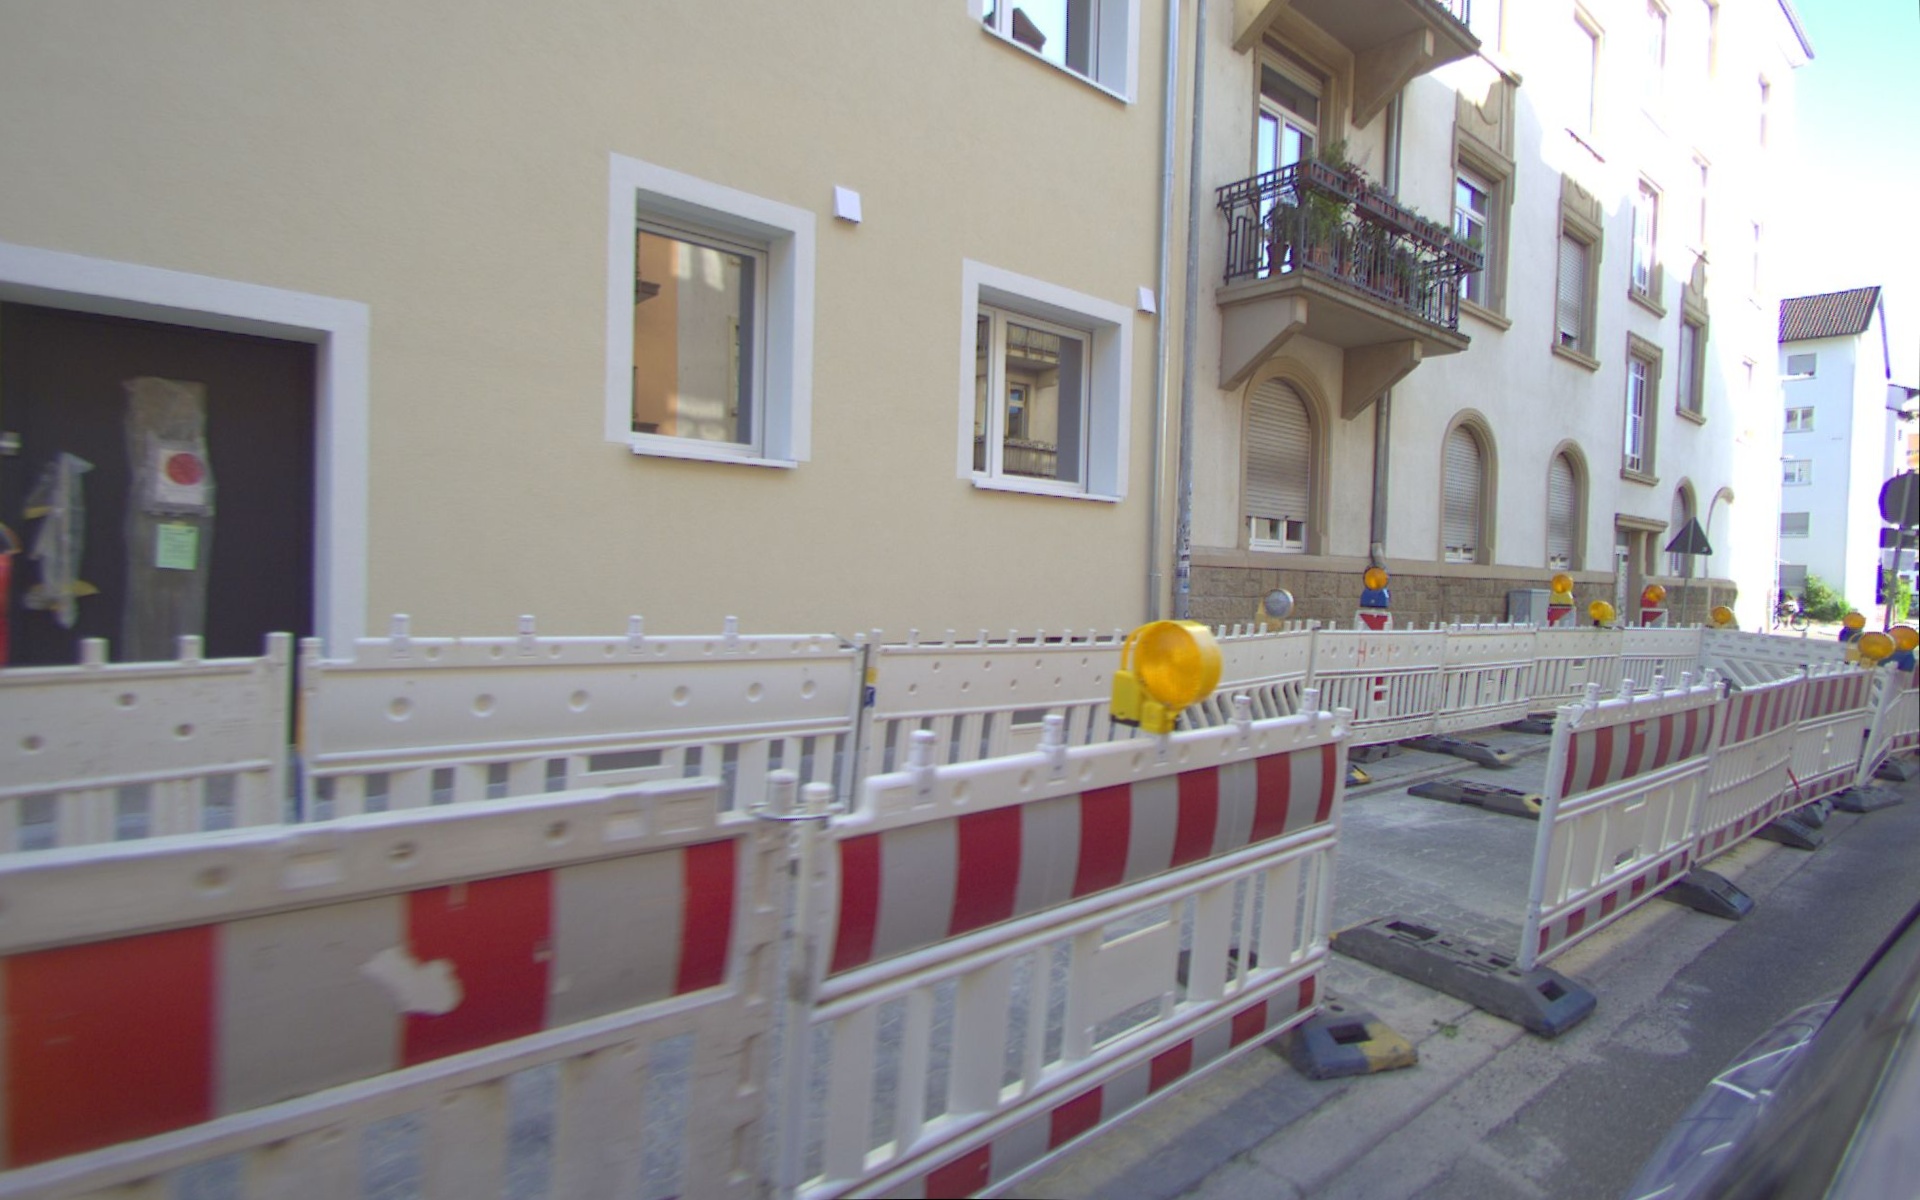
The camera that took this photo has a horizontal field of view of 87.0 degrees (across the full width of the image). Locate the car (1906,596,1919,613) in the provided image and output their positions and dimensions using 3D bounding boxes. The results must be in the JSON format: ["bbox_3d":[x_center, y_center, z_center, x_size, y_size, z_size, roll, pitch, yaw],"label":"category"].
[{"bbox_3d":[107.052,0.536,112.041,2.120,1.832,4.788,2,2,28],"label":"car"}]
